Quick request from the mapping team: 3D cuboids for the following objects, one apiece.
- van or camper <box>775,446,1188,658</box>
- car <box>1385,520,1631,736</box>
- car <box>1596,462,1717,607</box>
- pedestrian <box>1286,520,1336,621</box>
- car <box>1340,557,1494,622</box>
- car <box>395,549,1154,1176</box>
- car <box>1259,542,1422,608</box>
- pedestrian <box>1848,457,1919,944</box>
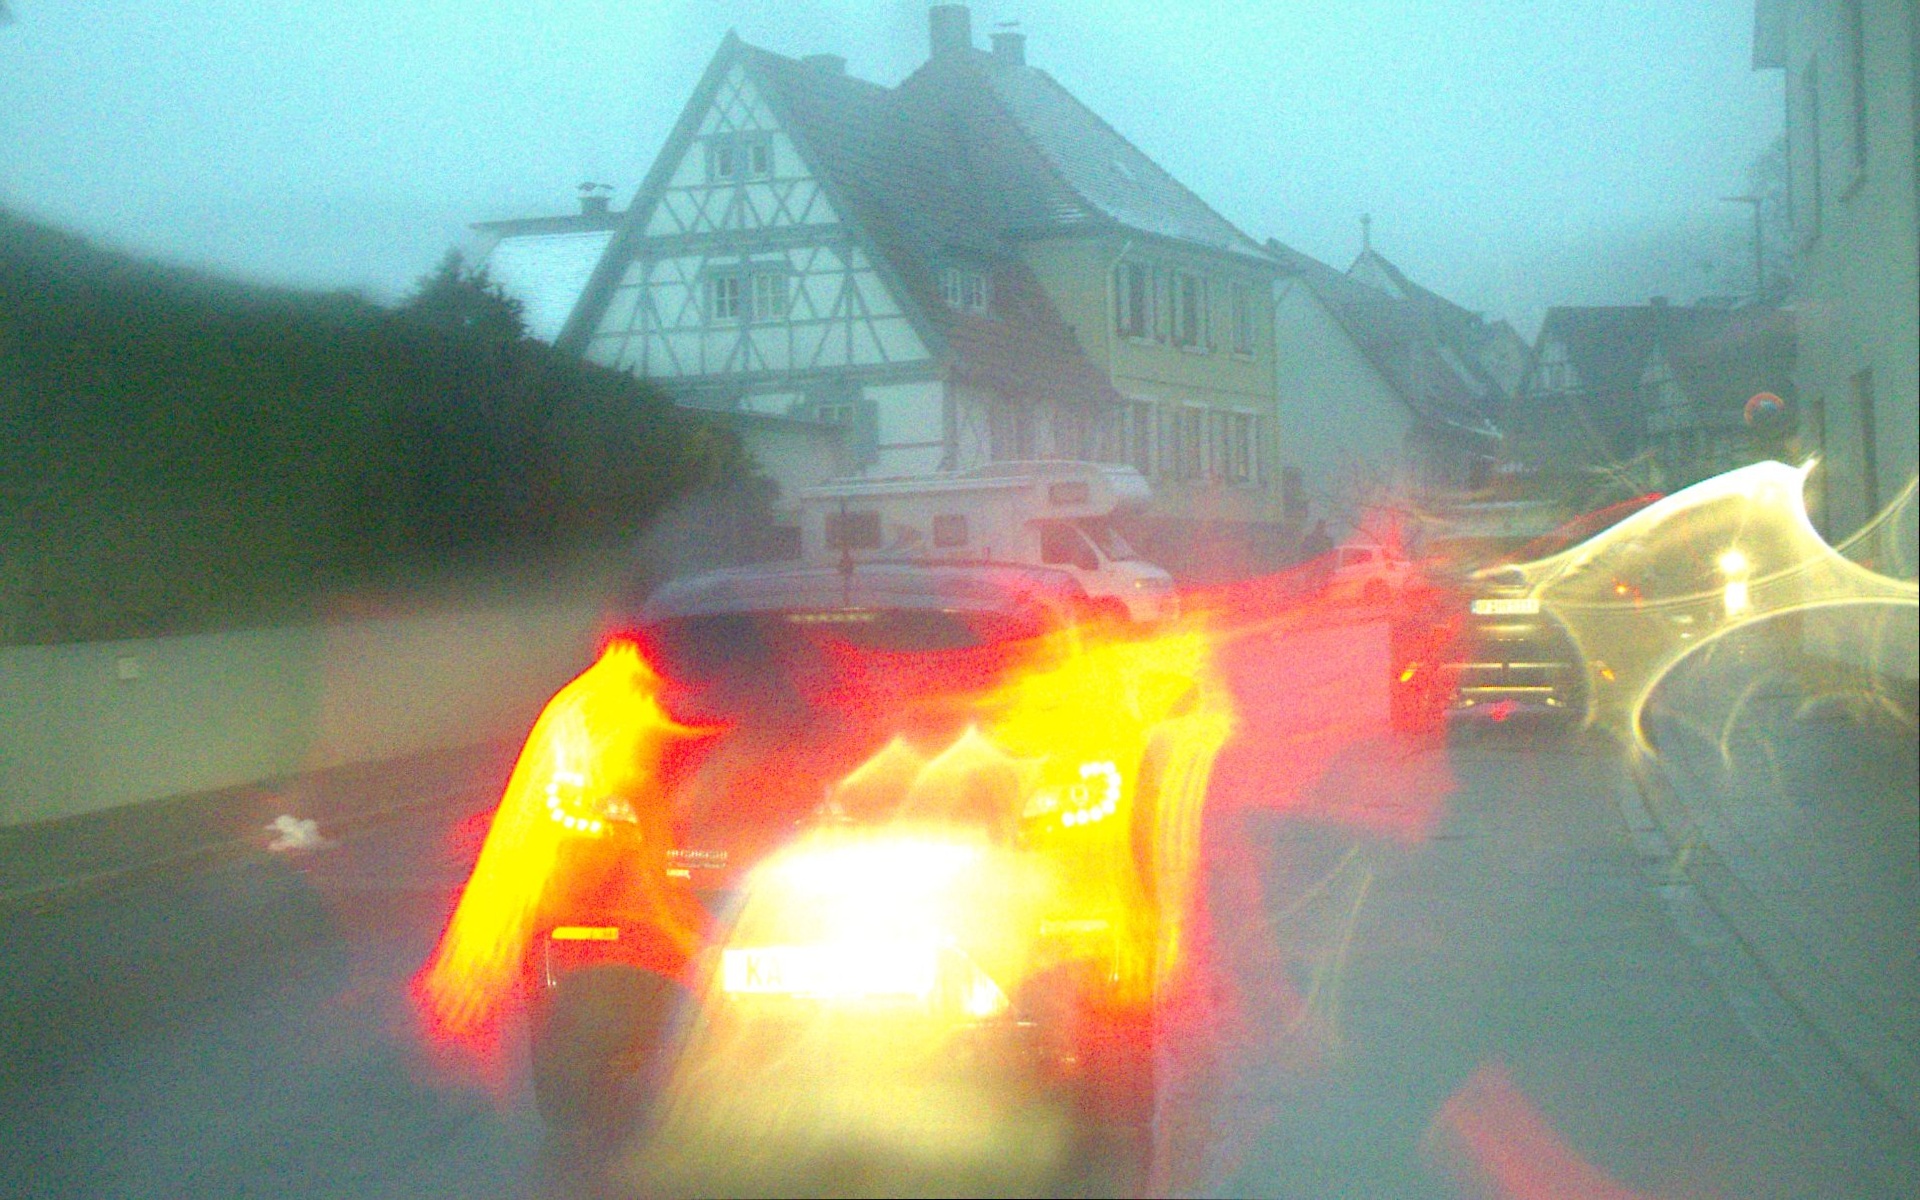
[{"bbox_3d":[0.358,-0.751,55.654,6.065,2.945,2.404,-4,0,18],"label":"van or camper"},{"bbox_3d":[4.517,0.186,28.337,1.848,1.631,4.334,0,1,9],"label":"car"},{"bbox_3d":[12.114,-1.130,59.665,1.815,2.405,3.749,-1,1,15],"label":"car"},{"bbox_3d":[7.046,-0.596,69.055,0.874,2.007,0.794,-1,1,13],"label":"pedestrian"},{"bbox_3d":[11.063,-0.262,83.133,3.510,1.502,1.691,-1,1,15],"label":"car"},{"bbox_3d":[-0.381,0.589,10.123,1.795,1.471,4.000,0,1,2],"label":"car"},{"bbox_3d":[8.964,-0.581,80.955,3.511,1.502,1.690,0,1,20],"label":"car"},{"bbox_3d":[3.684,0.310,12.183,0.867,1.661,0.991,-4,1,11],"label":"pedestrian"}]
